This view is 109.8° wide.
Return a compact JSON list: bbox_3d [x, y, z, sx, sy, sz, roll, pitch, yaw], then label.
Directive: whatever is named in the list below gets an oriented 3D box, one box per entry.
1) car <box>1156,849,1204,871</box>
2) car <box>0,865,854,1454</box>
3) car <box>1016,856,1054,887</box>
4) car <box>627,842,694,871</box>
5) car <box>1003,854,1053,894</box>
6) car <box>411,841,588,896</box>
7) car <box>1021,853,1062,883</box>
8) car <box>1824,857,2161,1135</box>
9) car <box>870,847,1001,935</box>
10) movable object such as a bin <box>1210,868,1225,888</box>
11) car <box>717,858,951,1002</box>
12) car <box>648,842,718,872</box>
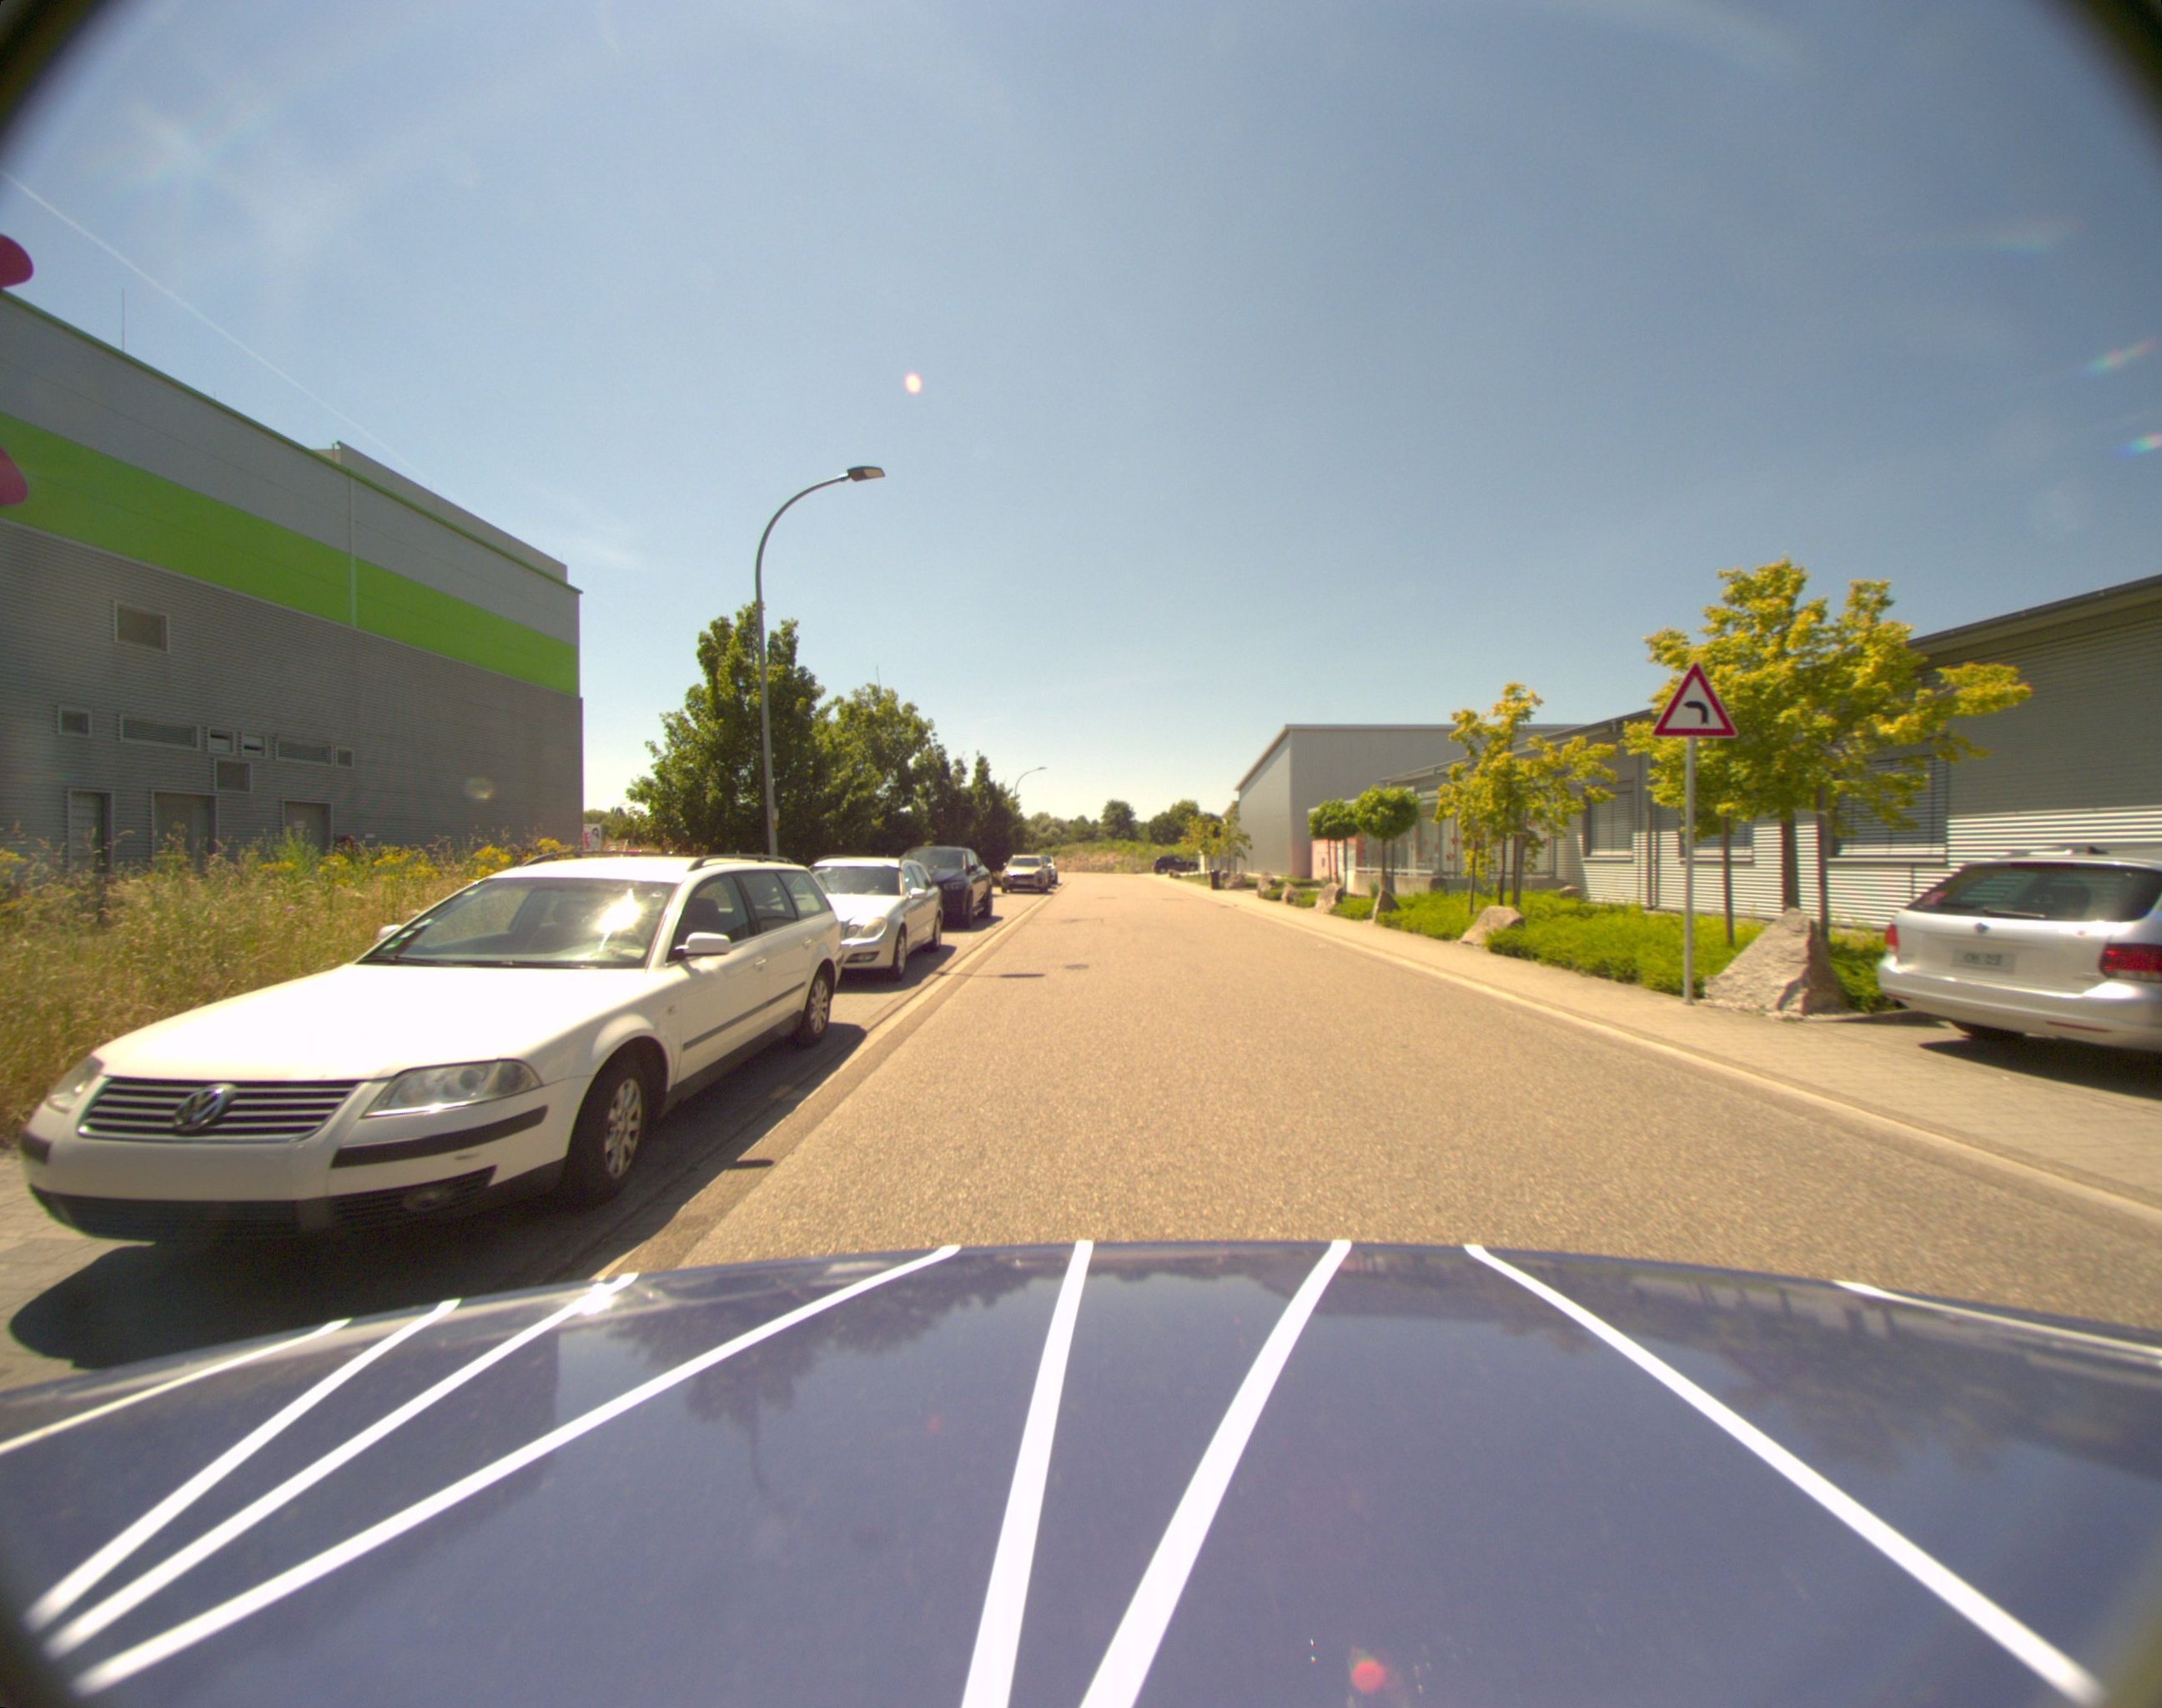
[{"bbox_3d":[9.183,0.559,70.744,4.172,1.649,1.781,-5,1,1],"label":"car"},{"bbox_3d":[-2.839,0.860,4.403,1.718,1.474,4.772,2,0,-2],"label":"car"},{"bbox_3d":[-2.423,0.903,40.748,1.909,1.520,4.628,2,0,-3],"label":"car"},{"bbox_3d":[-28.556,0.215,51.775,1.998,1.839,4.402,1,-1,1],"label":"car"},{"bbox_3d":[-2.266,0.825,33.621,1.809,1.626,4.458,2,0,1],"label":"car"},{"bbox_3d":[-17.513,0.395,23.224,1.998,1.490,4.401,1,0,1],"label":"car"},{"bbox_3d":[-2.346,0.811,46.237,2.149,1.688,4.785,2,0,1],"label":"car"},{"bbox_3d":[8.081,0.787,5.142,4.273,1.509,1.866,0,1,0],"label":"car"},{"bbox_3d":[-3.109,0.724,17.276,1.953,1.691,4.545,2,0,1],"label":"car"},{"bbox_3d":[6.463,1.120,36.003,0.572,0.944,0.512,-1,0,-5],"label":"movable object such as a bin"},{"bbox_3d":[-3.063,0.835,10.573,1.809,1.474,4.772,2,0,-2],"label":"car"},{"bbox_3d":[-24.762,0.218,47.484,1.998,1.775,4.402,1,-1,1],"label":"car"}]
